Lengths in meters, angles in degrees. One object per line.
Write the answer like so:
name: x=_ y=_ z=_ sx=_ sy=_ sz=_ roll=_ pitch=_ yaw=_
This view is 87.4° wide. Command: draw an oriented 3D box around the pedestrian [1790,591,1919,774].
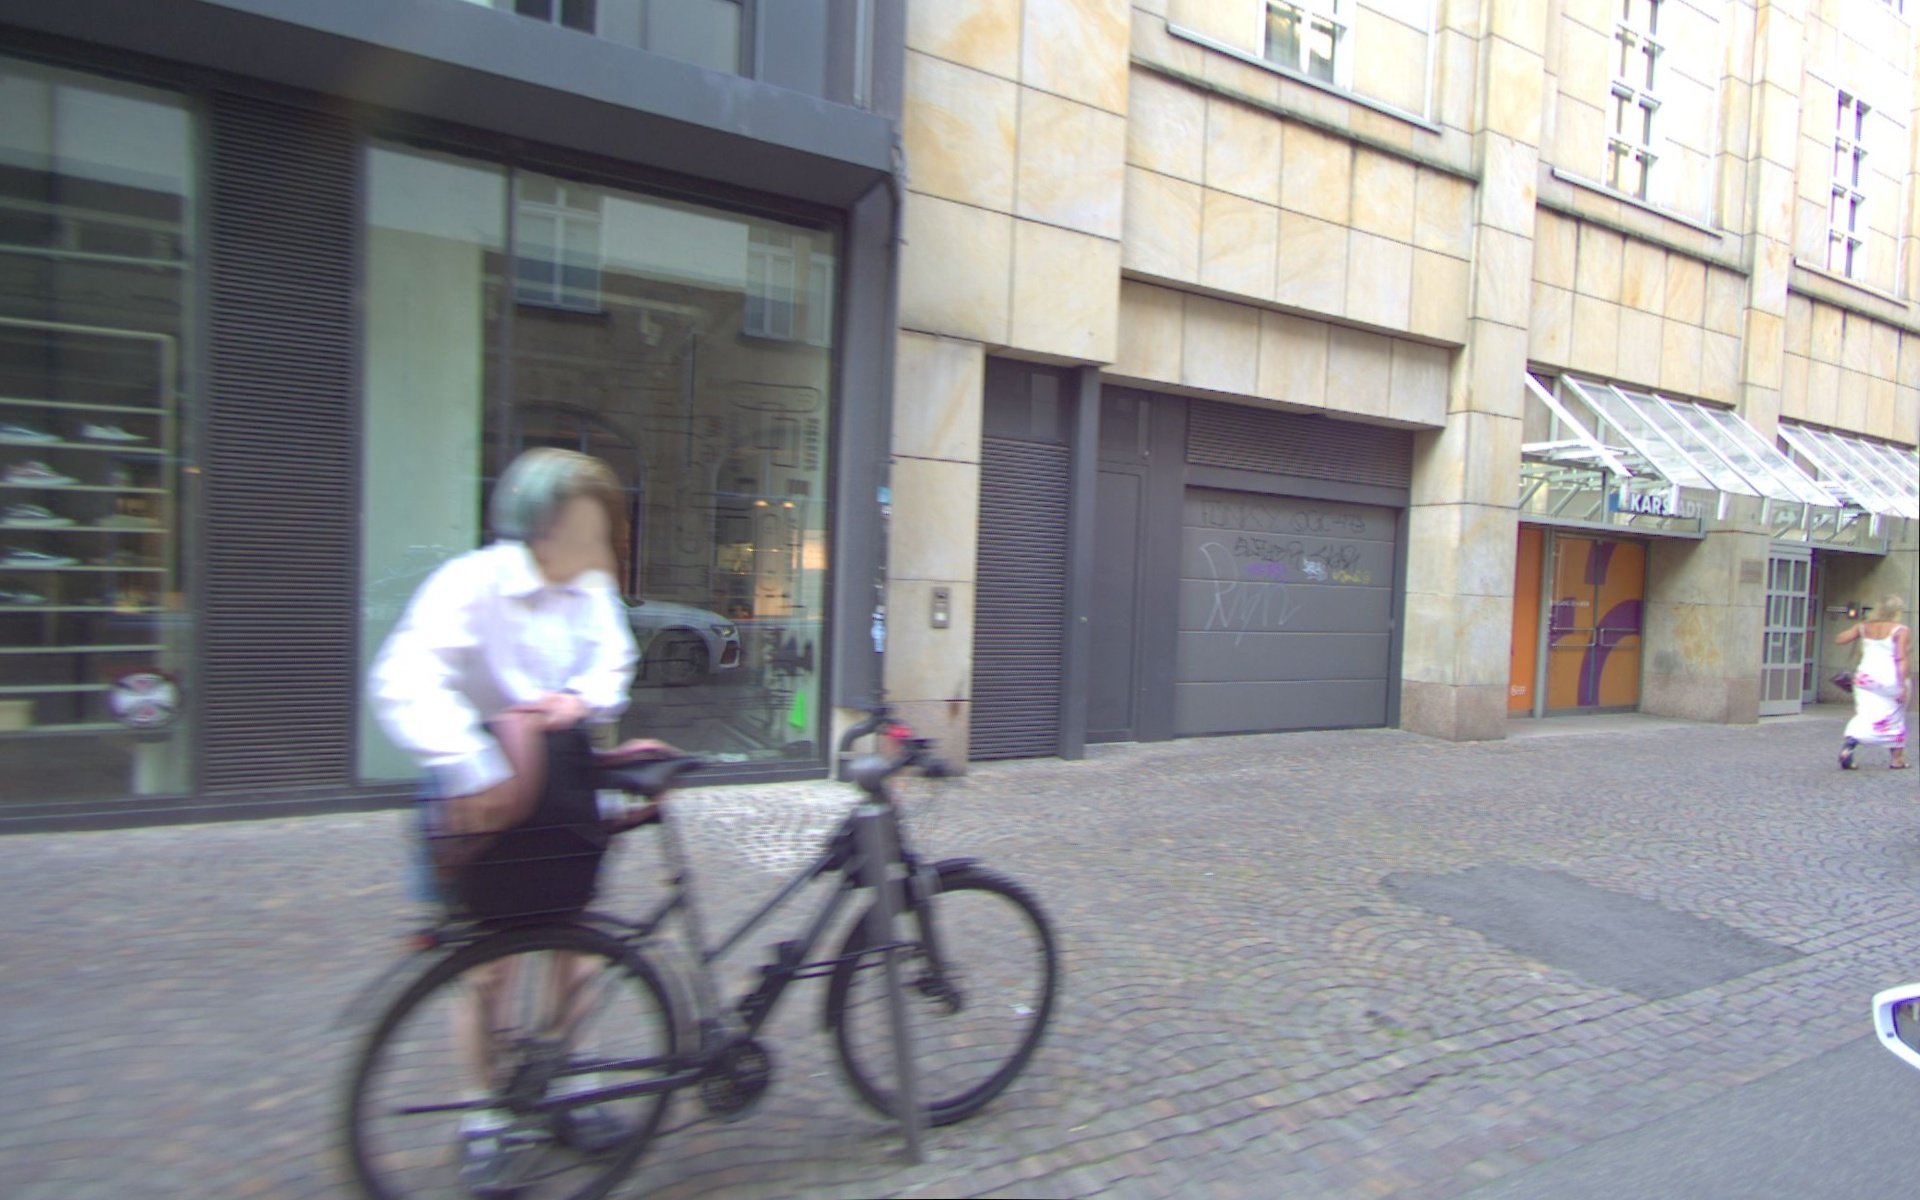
pedestrian: x=8.780 y=0.771 z=9.820 sx=0.849 sy=1.687 sz=0.672 roll=1 pitch=2 yaw=-26

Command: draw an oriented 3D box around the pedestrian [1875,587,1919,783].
pedestrian: x=9.112 y=0.780 z=9.160 sx=0.937 sy=1.753 sz=0.803 roll=1 pitch=2 yaw=-28

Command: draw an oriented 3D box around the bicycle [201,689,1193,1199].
bicycle: x=-0.428 y=0.833 z=2.194 sx=1.890 sy=1.169 sz=0.530 roll=1 pitch=3 yaw=-28

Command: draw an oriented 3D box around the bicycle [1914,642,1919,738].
bicycle: x=12.472 y=1.109 z=12.090 sx=1.734 sy=1.153 sz=0.522 roll=1 pitch=1 yaw=-13

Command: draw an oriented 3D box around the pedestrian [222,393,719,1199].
pedestrian: x=-1.011 y=0.489 z=2.192 sx=0.755 sy=1.742 sz=0.592 roll=3 pitch=3 yaw=3
